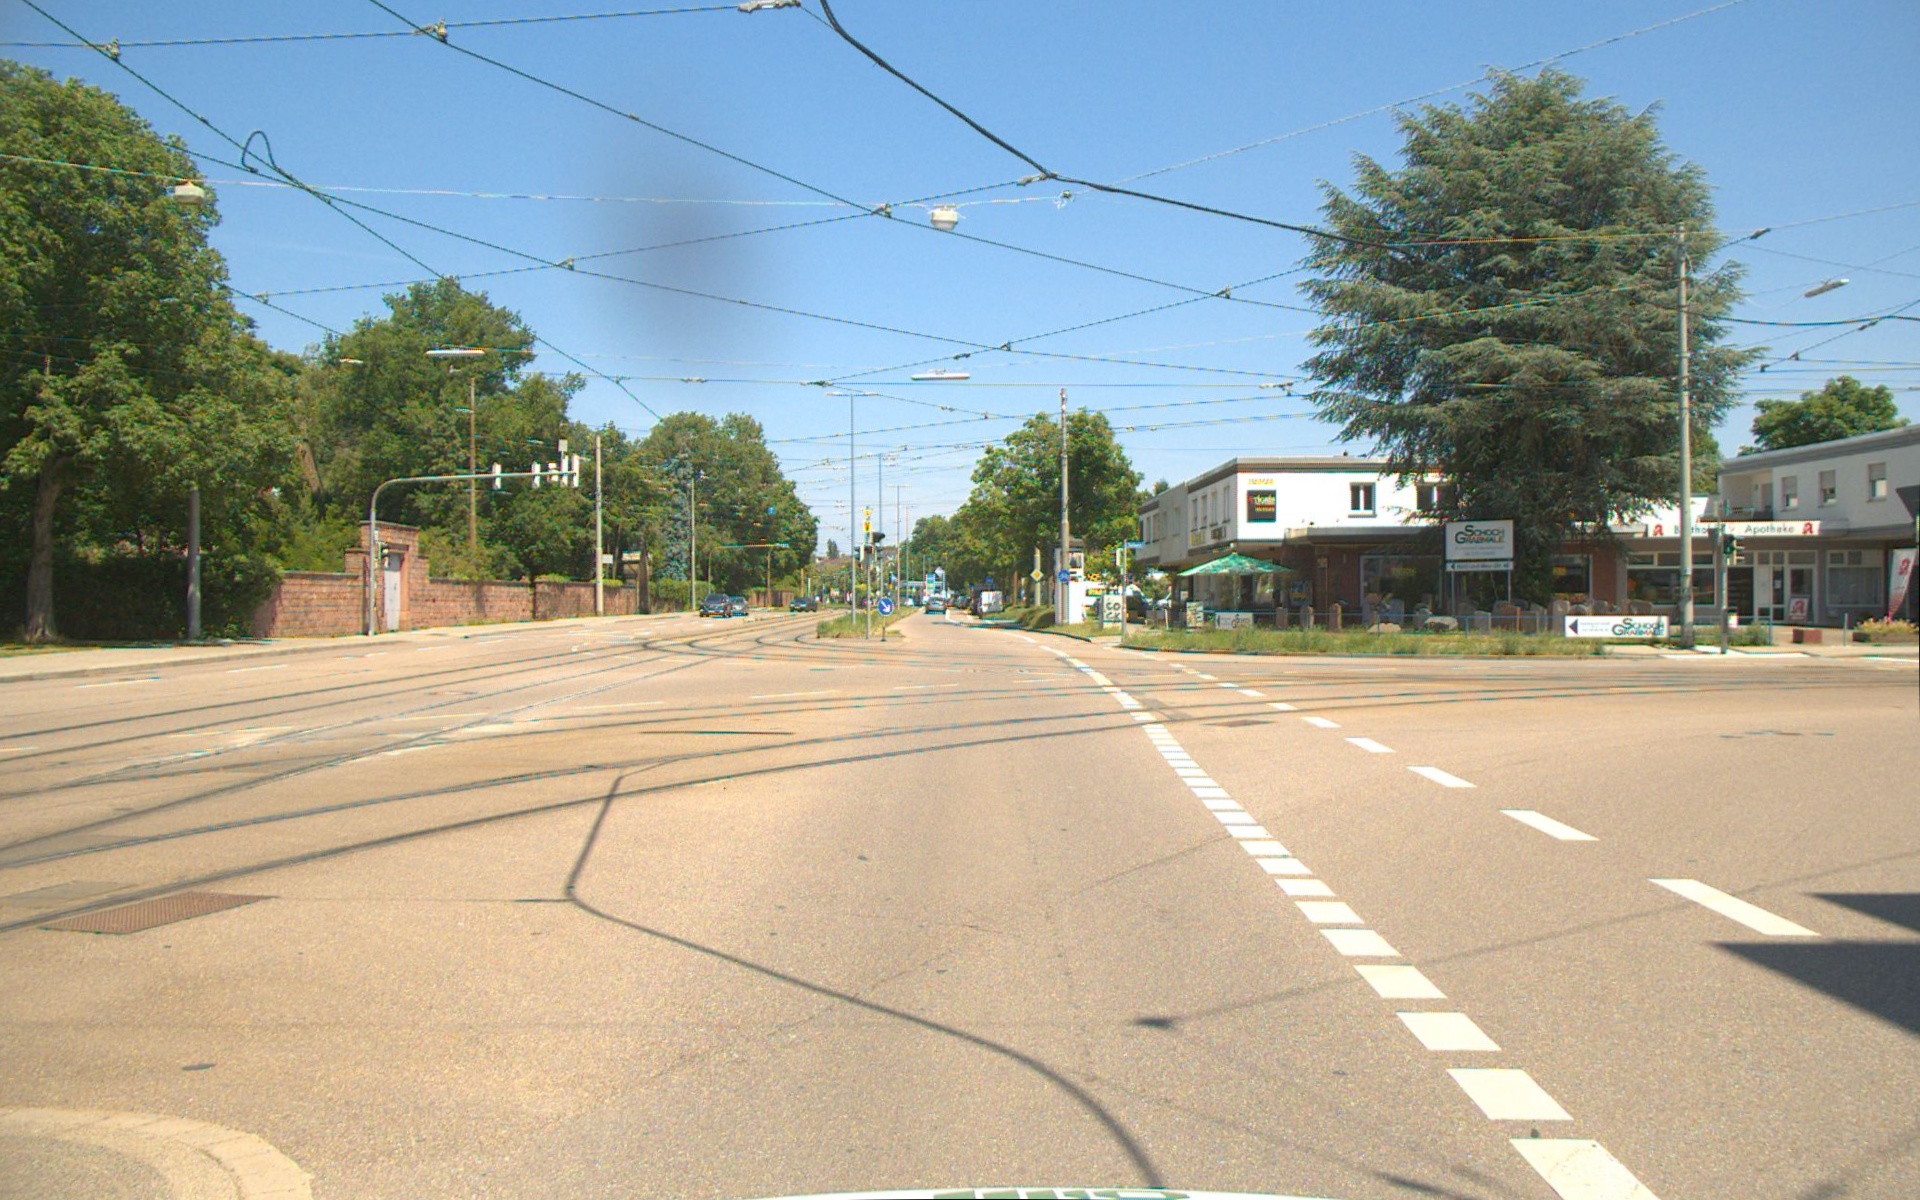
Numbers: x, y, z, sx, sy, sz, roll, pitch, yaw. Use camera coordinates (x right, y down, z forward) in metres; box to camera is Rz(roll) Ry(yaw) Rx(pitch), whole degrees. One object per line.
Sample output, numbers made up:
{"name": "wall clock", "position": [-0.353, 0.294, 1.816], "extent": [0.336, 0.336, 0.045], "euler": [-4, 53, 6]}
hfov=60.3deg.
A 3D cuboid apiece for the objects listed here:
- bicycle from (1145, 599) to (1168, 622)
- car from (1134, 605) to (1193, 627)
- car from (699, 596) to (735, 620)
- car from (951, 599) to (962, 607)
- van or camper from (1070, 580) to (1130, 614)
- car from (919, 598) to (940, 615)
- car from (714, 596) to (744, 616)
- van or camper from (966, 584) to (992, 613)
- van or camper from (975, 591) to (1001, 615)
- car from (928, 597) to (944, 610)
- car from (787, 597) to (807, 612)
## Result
{"name": "bicycle", "position": [9.055, 0.460, 76.335], "extent": [1.012, 1.032, 2.639], "euler": [0, 0, 7]}
{"name": "car", "position": [13.084, 1.015, 106.327], "extent": [3.538, 1.375, 1.488], "euler": [0, 0, -7]}
{"name": "car", "position": [-17.018, 0.543, 115.847], "extent": [1.782, 1.631, 4.520], "euler": [0, 0, 1]}
{"name": "car", "position": [-0.560, 0.445, 257.298], "extent": [1.493, 1.319, 3.490], "euler": [0, 0, -3]}
{"name": "van or camper", "position": [11.414, -0.262, 135.335], "extent": [4.661, 2.718, 2.135], "euler": [0, 0, -2]}
{"name": "car", "position": [-2.610, 0.521, 142.477], "extent": [1.604, 1.374, 3.839], "euler": [-3, 0, -3]}
{"name": "car", "position": [-17.648, 0.452, 126.675], "extent": [1.607, 1.446, 4.168], "euler": [0, 0, 2]}
{"name": "van or camper", "position": [1.638, -0.127, 144.576], "extent": [1.954, 2.507, 3.998], "euler": [0, 0, -3]}
{"name": "van or camper", "position": [2.036, 0.215, 122.101], "extent": [1.883, 1.803, 4.000], "euler": [0, 0, 0]}
{"name": "car", "position": [-2.691, 0.356, 186.542], "extent": [1.637, 1.460, 3.472], "euler": [0, 0, -3]}
{"name": "car", "position": [-15.589, 0.423, 158.177], "extent": [1.608, 1.424, 4.115], "euler": [1, 0, -1]}
